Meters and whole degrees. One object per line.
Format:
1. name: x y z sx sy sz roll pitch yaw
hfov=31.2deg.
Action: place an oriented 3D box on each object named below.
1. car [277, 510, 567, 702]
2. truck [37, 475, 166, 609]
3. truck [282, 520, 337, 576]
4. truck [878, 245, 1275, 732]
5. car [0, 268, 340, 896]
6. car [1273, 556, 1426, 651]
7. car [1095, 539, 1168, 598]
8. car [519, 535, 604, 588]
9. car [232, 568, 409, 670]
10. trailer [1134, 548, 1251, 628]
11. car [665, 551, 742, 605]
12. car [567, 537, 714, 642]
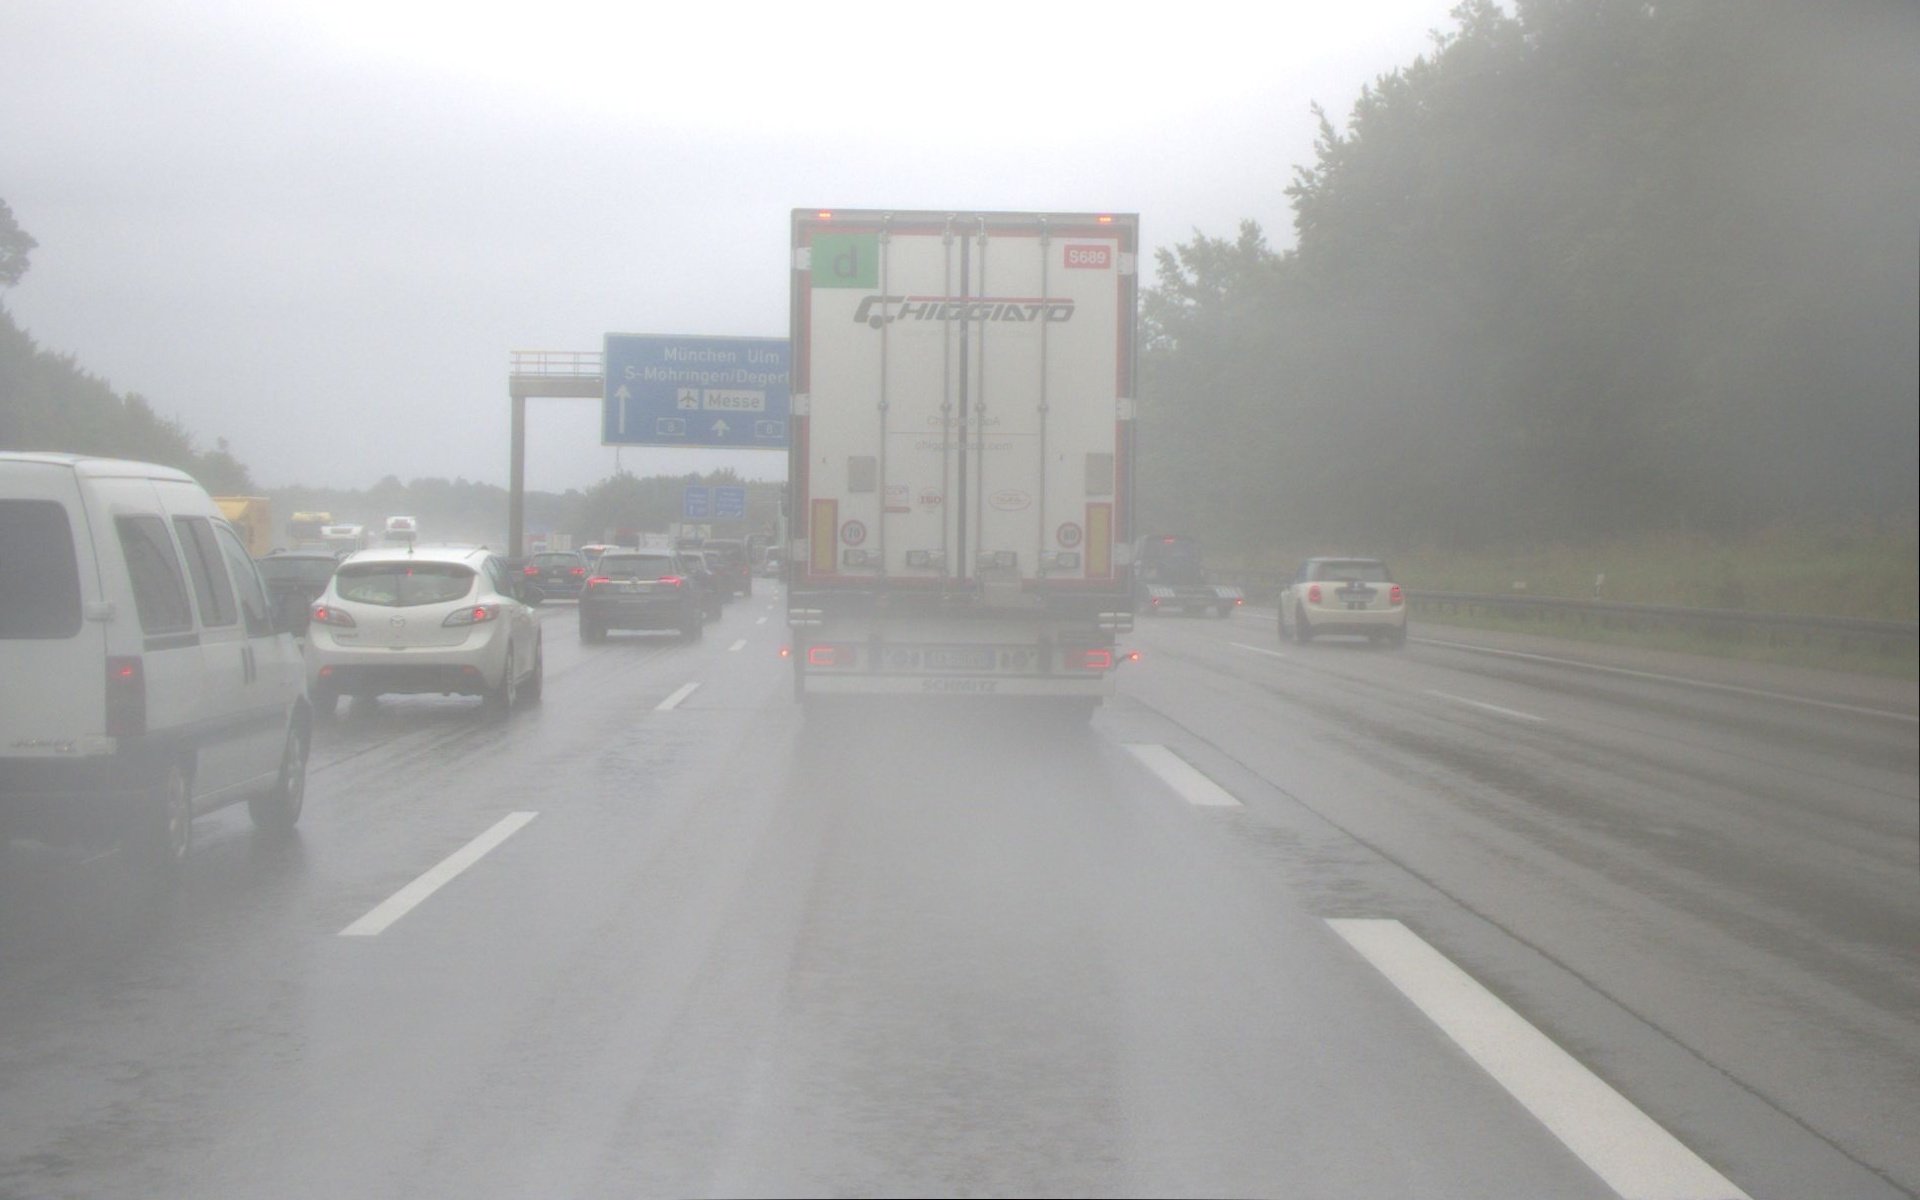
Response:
1. car: -4.747 0.001 30.868 1.845 1.586 4.072 1 1 2
2. truck: -26.102 -1.775 104.788 2.377 3.940 6.537 0 1 -1
3. truck: -41.744 -3.350 220.848 2.519 3.471 11.722 1 1 -6
4. truck: 0.926 -0.891 30.995 2.872 3.550 11.302 1 1 1
5. car: -4.434 -0.140 16.561 2.212 2.564 5.016 1 1 -3
6. car: 6.246 0.030 55.567 1.790 1.402 4.228 1 1 -3
7. car: 4.886 -0.927 97.931 1.990 1.578 4.767 1 1 3
8. car: -10.515 -1.040 90.995 1.845 1.326 4.467 1 1 -2
9. car: -9.183 0.240 49.646 1.845 1.326 4.467 1 1 -2
10. trailer: 5.322 -0.300 79.221 2.243 1.708 5.083 1 1 -1
11. car: -6.835 -0.606 91.905 1.845 1.326 4.467 1 1 -2
12. car: -5.109 -0.205 55.477 1.845 1.586 4.466 1 1 1
